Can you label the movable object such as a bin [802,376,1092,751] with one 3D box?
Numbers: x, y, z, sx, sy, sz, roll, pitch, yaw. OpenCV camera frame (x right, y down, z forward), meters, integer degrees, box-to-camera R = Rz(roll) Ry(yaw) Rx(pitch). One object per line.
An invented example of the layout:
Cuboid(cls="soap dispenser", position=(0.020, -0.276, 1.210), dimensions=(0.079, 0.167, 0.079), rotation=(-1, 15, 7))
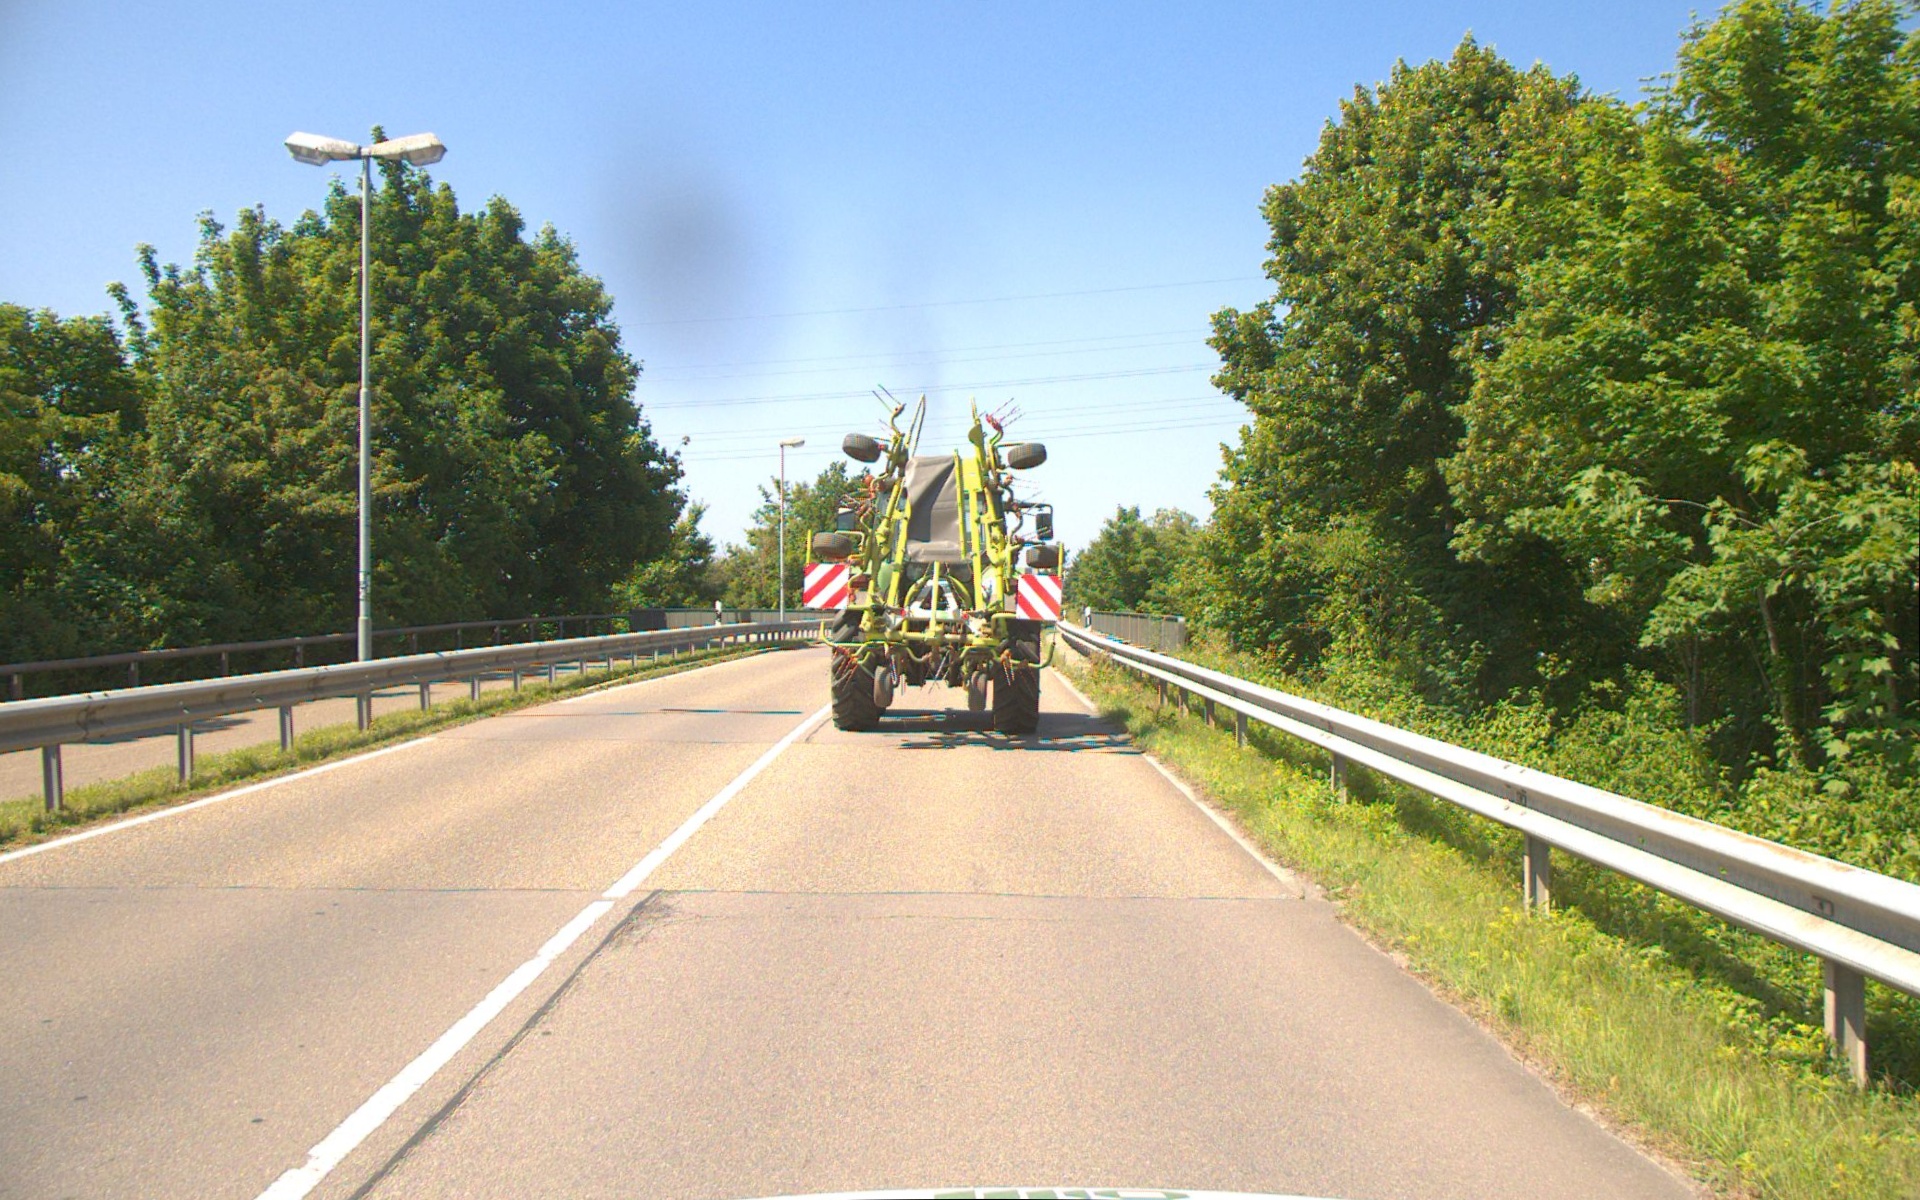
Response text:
Cuboid(cls="movable object such as a bin", position=(-0.175, -0.352, 18.346), dimensions=(2.699, 3.504, 5.668), rotation=(0, 0, -1))
